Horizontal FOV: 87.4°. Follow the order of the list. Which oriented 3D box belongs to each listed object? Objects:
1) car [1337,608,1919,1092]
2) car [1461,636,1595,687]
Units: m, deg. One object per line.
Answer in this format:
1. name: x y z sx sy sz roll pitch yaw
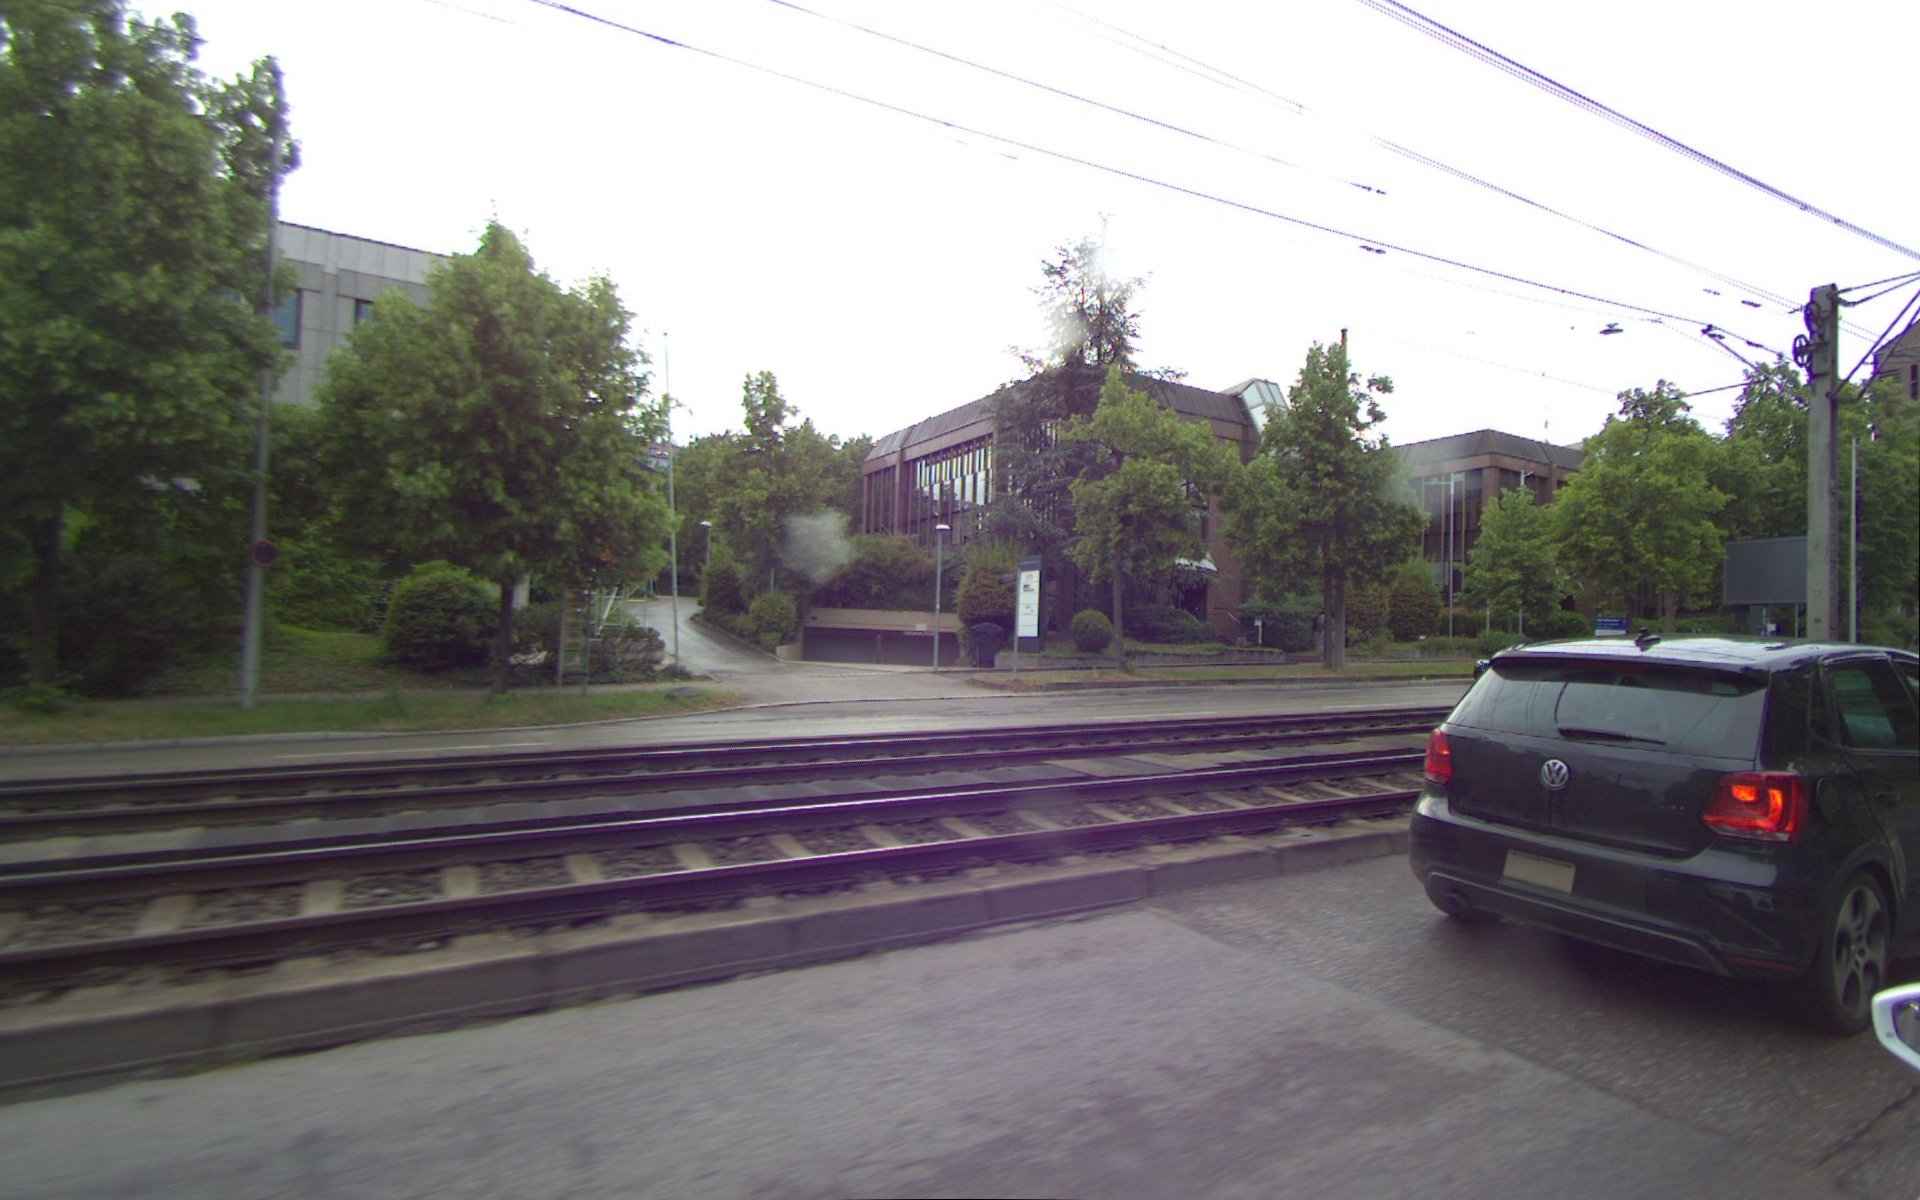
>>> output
1. car: 3.882 0.839 4.934 3.919 1.505 1.785 1 -2 -31
2. car: 18.320 1.934 32.322 4.570 1.550 1.785 1 -2 -32
